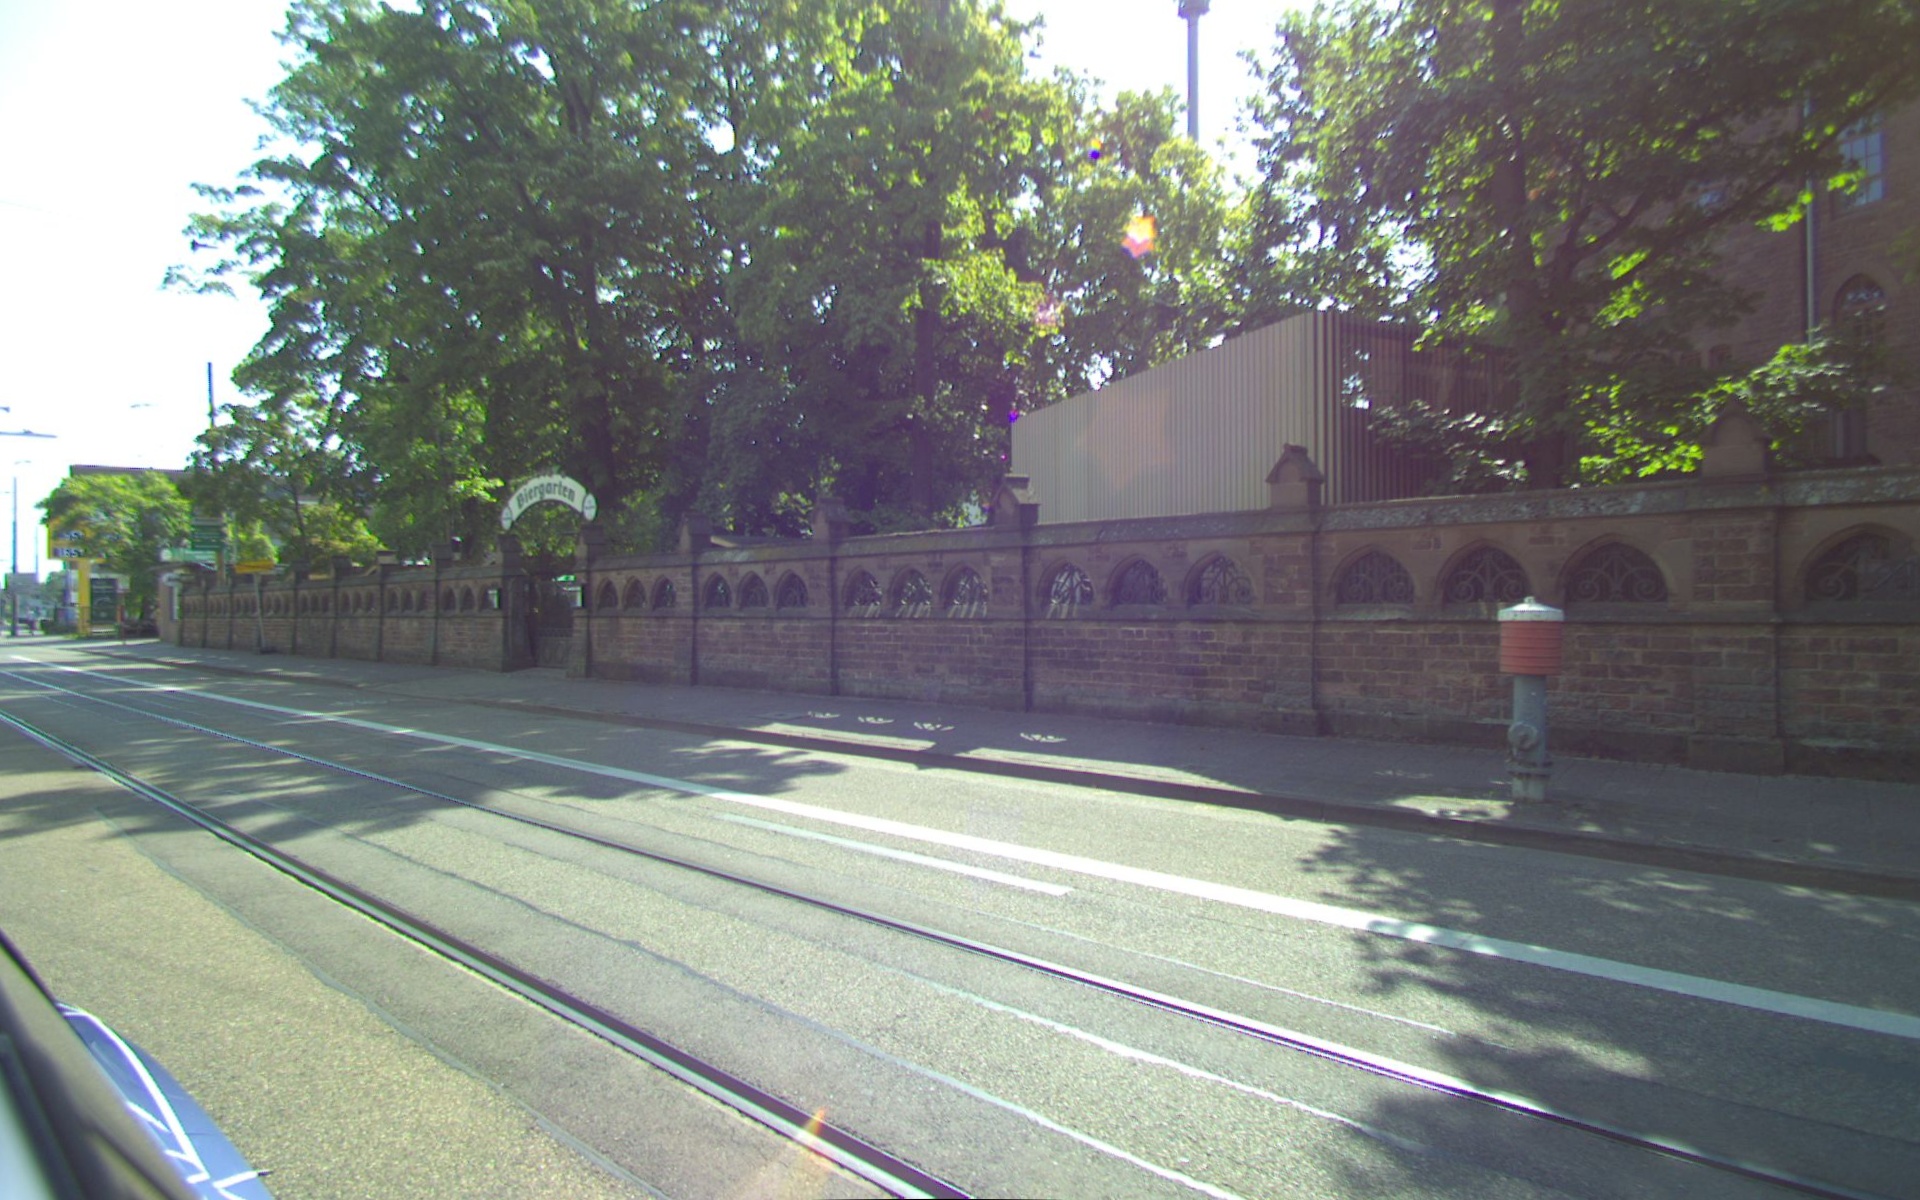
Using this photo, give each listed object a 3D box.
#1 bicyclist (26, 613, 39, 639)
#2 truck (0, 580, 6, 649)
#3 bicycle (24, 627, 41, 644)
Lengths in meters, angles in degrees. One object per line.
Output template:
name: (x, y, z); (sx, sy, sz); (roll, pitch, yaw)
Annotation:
bicyclist: (-69.000, 1.931, 75.256); (0.633, 1.944, 1.177); (-1, 0, -40)
truck: (-68.965, 1.061, 70.704); (3.127, 4.487, 16.858); (-1, 0, -43)
bicycle: (-68.880, 2.624, 75.189); (0.775, 1.249, 2.038); (-1, 0, -38)
